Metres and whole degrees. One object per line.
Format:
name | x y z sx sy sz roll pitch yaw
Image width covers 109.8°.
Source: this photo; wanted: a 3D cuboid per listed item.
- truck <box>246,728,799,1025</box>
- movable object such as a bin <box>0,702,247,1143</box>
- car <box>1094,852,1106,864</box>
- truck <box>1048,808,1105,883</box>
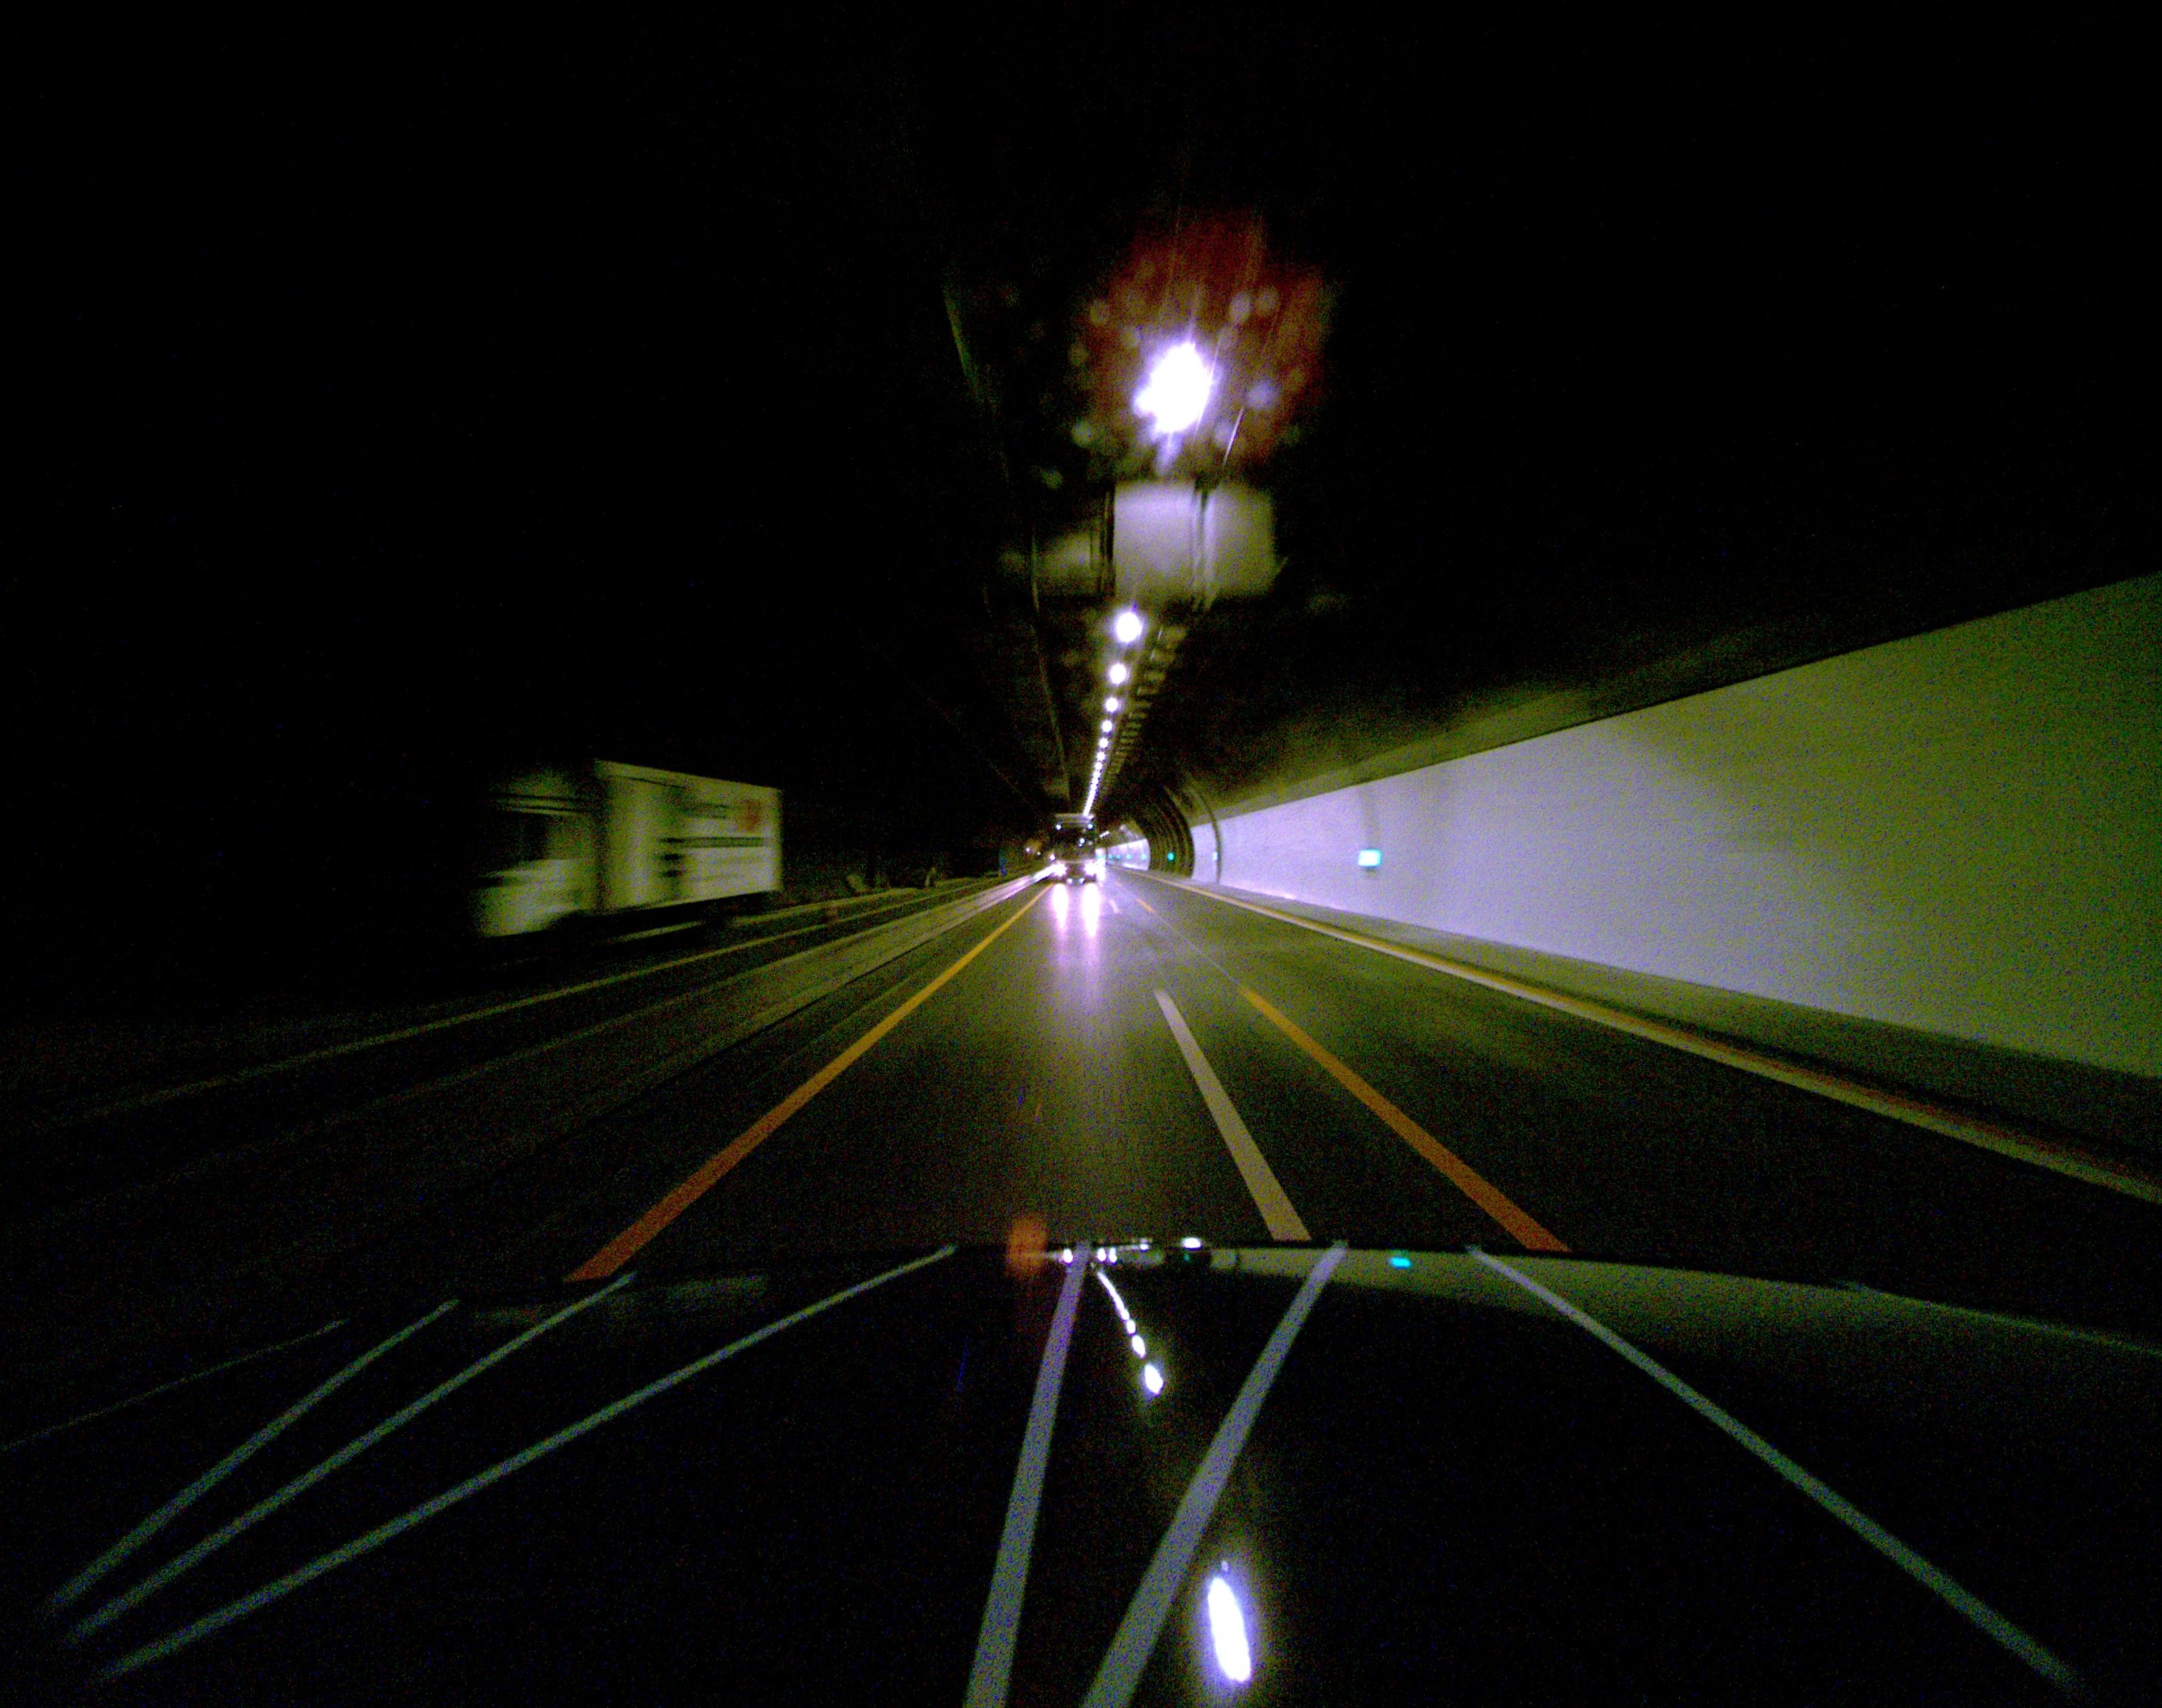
truck | -7.893 0.214 12.813 2.825 3.267 8.352 -2 1 1
movable object such as a bin | -8.410 0.516 2.604 2.977 2.811 7.195 -3 1 0
car | 2.826 0.612 111.976 1.662 1.586 3.996 -2 1 2
truck | -0.070 -0.553 49.505 2.953 4.241 11.053 -2 1 3
